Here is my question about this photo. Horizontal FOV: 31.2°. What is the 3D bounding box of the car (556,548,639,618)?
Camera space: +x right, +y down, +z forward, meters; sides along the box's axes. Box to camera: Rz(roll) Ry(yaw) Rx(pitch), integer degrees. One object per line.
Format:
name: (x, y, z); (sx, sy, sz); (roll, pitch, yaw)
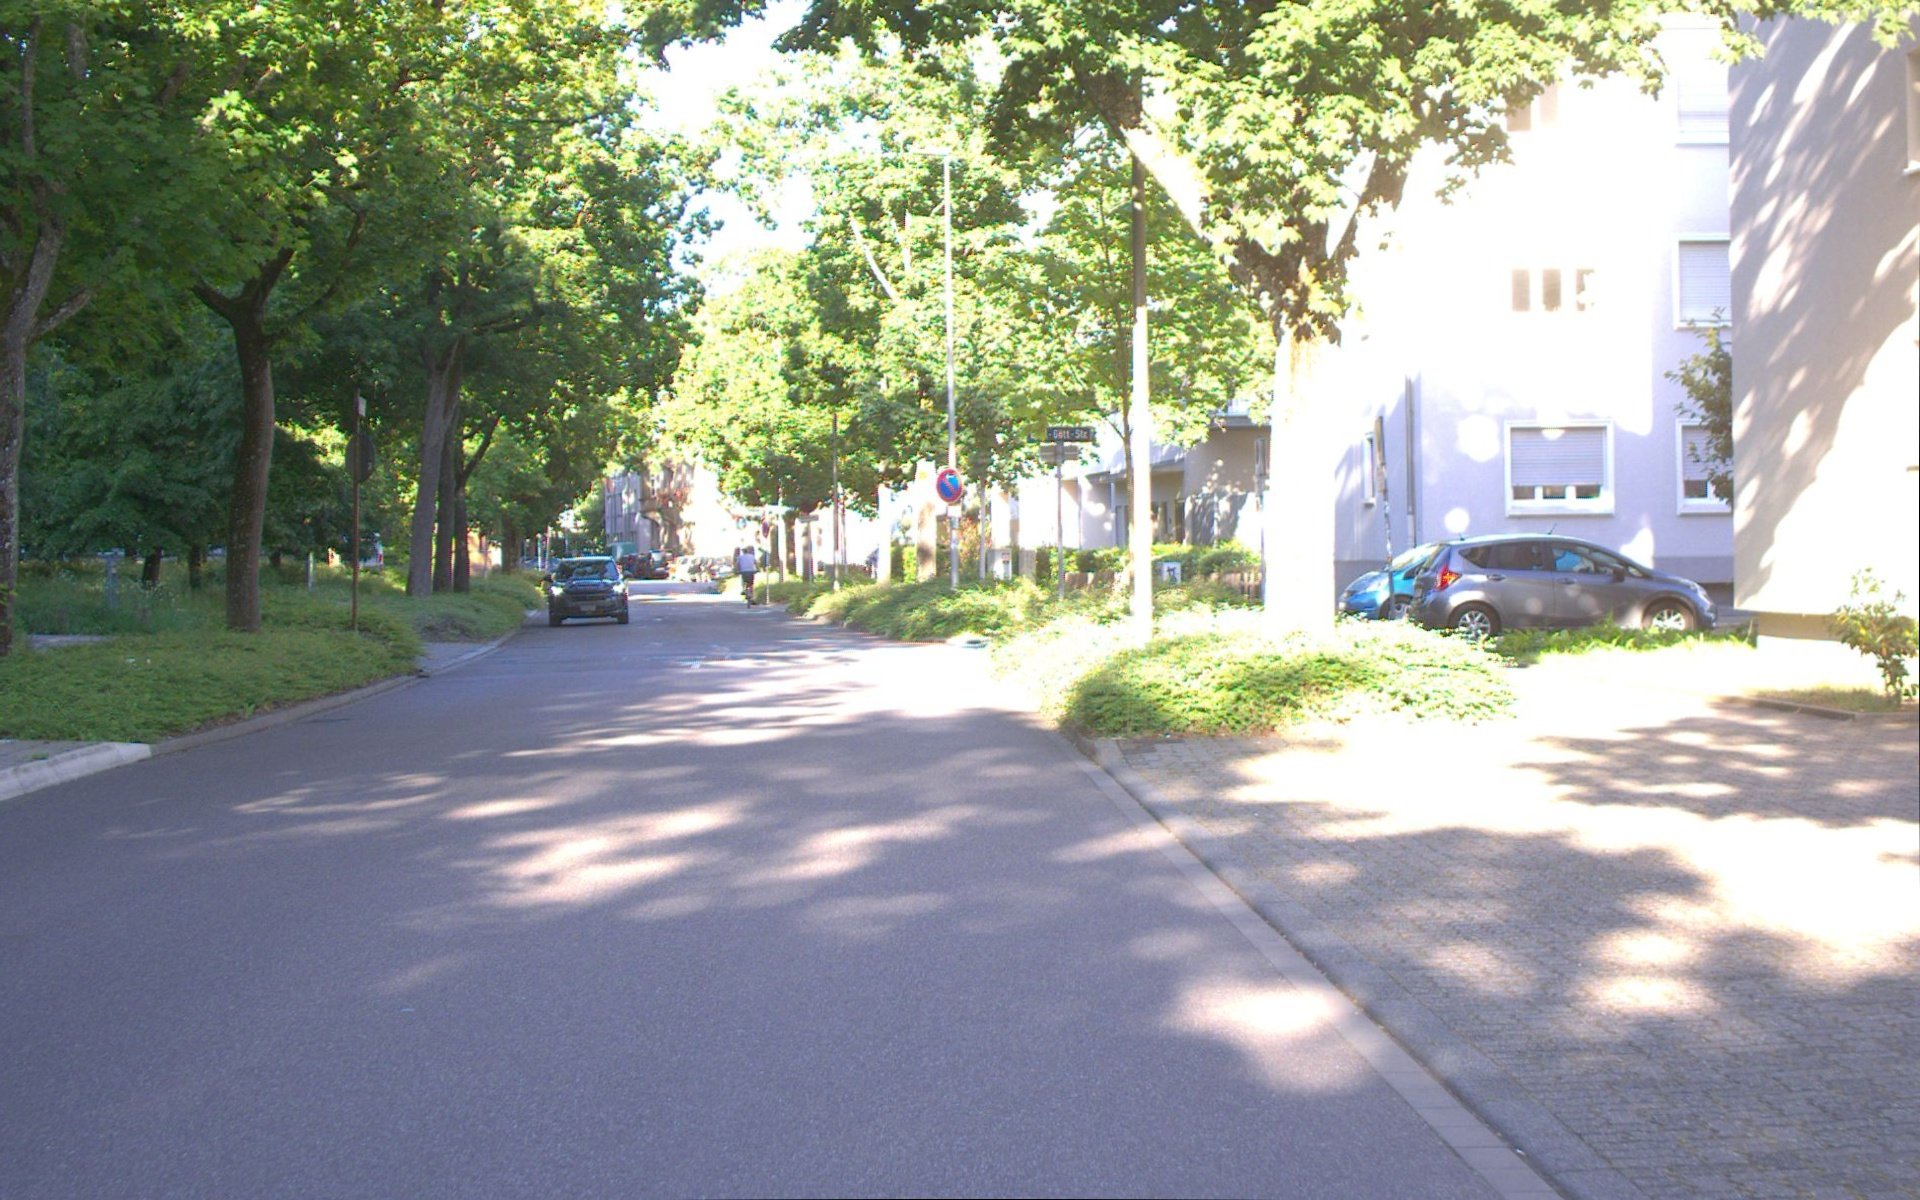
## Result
car: (-8.449, -0.420, 80.405); (1.844, 1.573, 4.336); (-1, 1, -5)

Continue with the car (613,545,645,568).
car: (-22.116, -2.929, 229.403); (1.811, 1.496, 4.001); (1, 1, -9)

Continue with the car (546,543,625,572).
car: (-20.030, -2.286, 184.010); (3.986, 1.496, 1.818); (1, 1, -14)

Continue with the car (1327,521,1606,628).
car: (7.900, -0.418, 53.824); (3.986, 1.576, 1.810); (-1, 2, -6)

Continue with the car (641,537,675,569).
car: (-18.900, -2.943, 214.969); (1.811, 1.919, 4.001); (1, 1, -9)

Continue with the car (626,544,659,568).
car: (-20.582, -2.847, 222.985); (1.811, 1.496, 4.001); (1, 1, -9)

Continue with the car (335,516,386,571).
car: (-28.193, -2.651, 161.658); (1.993, 2.499, 4.001); (0, 1, -15)

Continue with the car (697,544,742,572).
car: (-13.084, -2.288, 186.702); (1.811, 1.496, 4.001); (-1, 1, -13)

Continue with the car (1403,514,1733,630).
car: (8.128, -0.354, 46.130); (4.040, 1.509, 1.727); (0, -1, -5)
